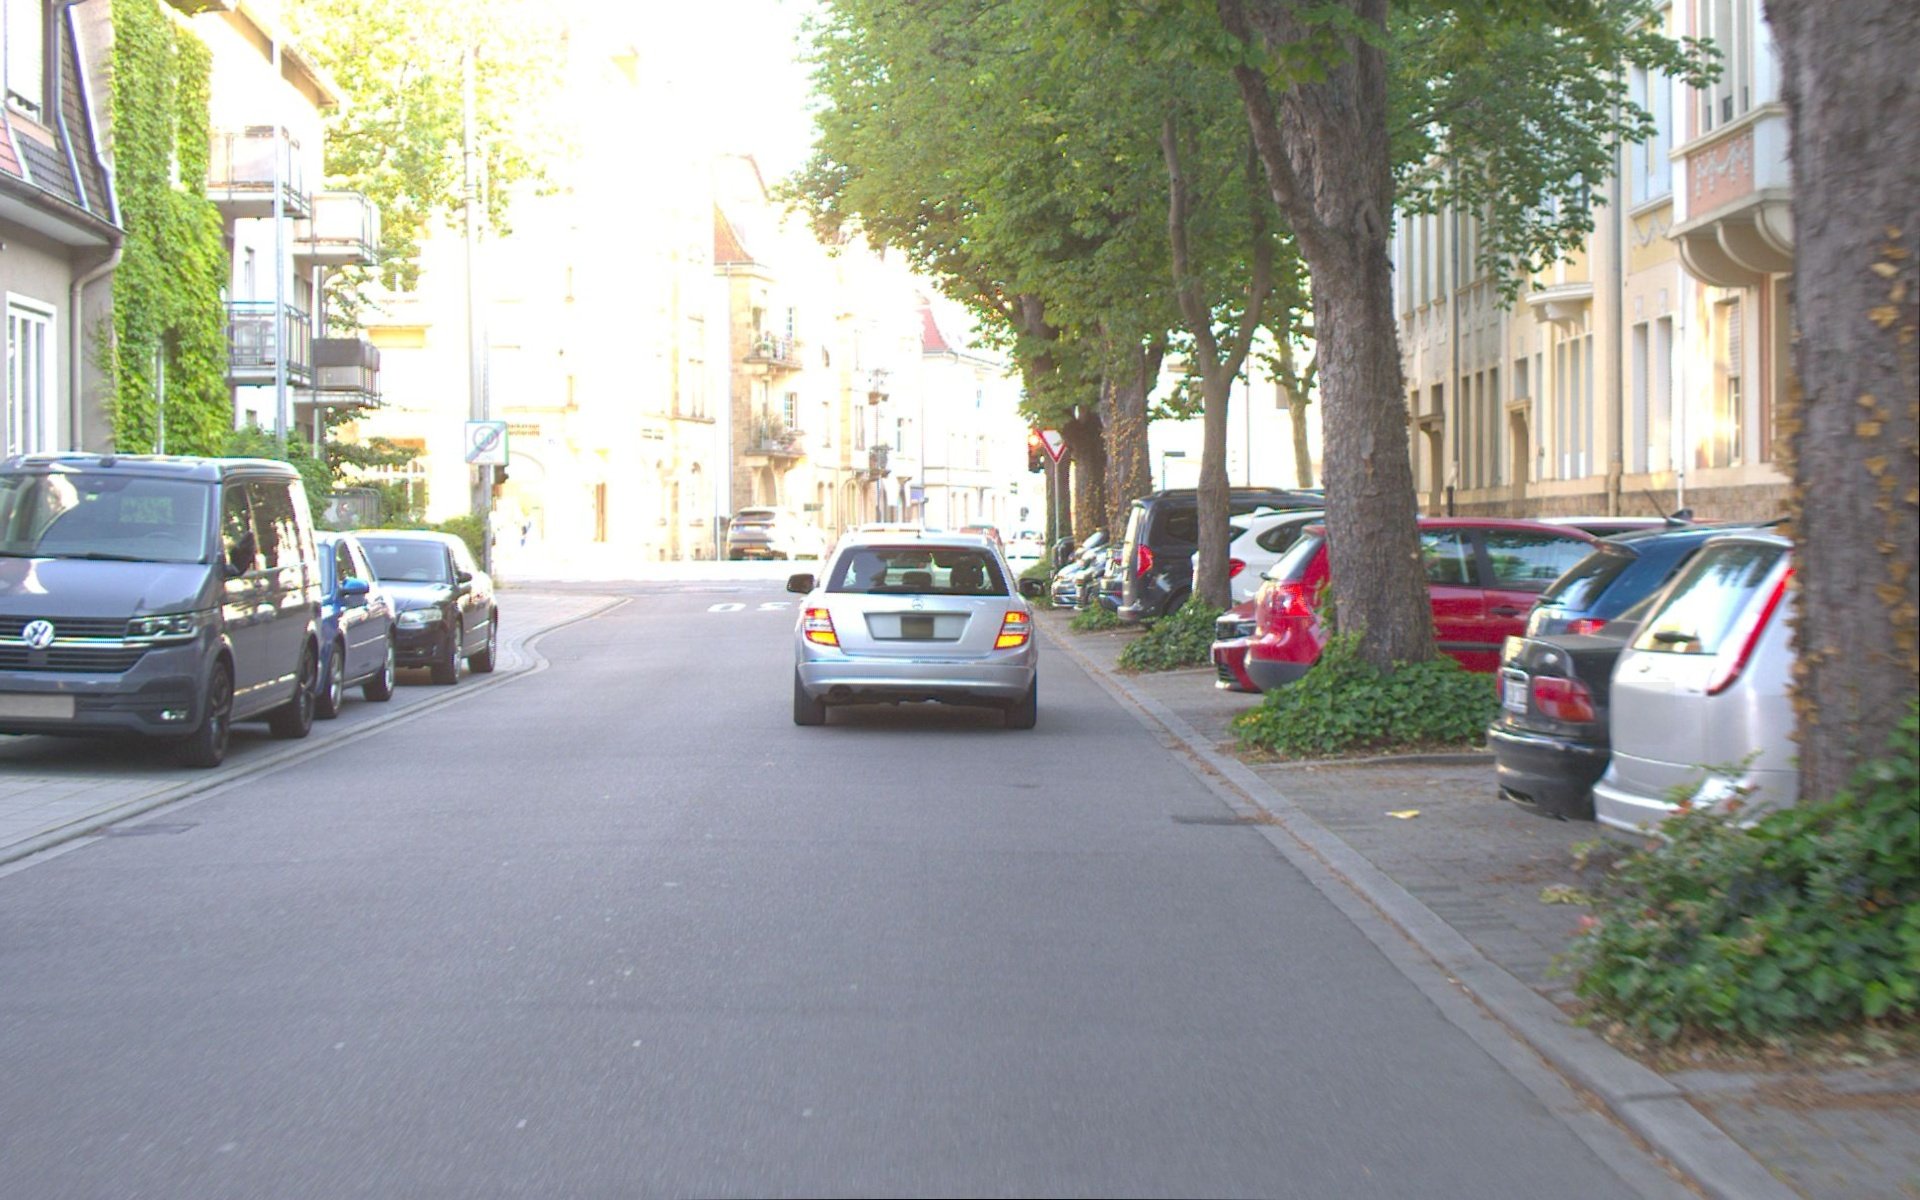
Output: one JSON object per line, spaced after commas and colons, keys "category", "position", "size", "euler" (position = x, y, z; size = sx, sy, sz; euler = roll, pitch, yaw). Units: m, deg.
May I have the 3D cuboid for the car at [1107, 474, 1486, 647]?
{"category": "car", "position": [3.962, -0.488, 40.965], "size": [4.219, 1.890, 1.906], "euler": [-2, 2, -2]}

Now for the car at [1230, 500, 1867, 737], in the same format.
{"category": "car", "position": [4.083, 0.105, 24.377], "size": [4.190, 1.470, 1.852], "euler": [-2, 1, 2]}

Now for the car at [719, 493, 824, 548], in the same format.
{"category": "car", "position": [-5.614, -2.404, 102.933], "size": [1.995, 1.579, 3.998], "euler": [1, 2, 15]}

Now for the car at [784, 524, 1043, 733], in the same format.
{"category": "car", "position": [-0.325, 0.161, 25.842], "size": [1.784, 1.432, 3.851], "euler": [1, 1, 0]}

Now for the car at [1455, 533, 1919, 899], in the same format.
{"category": "car", "position": [4.135, 0.441, 14.570], "size": [3.793, 1.433, 1.818], "euler": [0, 1, -1]}

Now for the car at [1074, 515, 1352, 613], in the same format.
{"category": "car", "position": [4.054, -0.599, 55.570], "size": [4.287, 1.535, 1.899], "euler": [0, 2, -3]}

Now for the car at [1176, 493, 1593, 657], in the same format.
{"category": "car", "position": [4.419, -0.279, 36.225], "size": [4.110, 1.566, 1.877], "euler": [-2, 1, 0]}

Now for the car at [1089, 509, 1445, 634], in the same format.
{"category": "car", "position": [3.859, -0.376, 43.681], "size": [4.287, 1.535, 1.877], "euler": [0, 2, -3]}

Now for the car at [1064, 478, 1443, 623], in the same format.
{"category": "car", "position": [4.063, -0.718, 48.222], "size": [5.053, 1.982, 2.072], "euler": [0, 2, -3]}

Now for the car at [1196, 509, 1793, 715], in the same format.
{"category": "car", "position": [4.127, 0.069, 27.090], "size": [4.411, 1.414, 1.877], "euler": [-2, 1, 2]}

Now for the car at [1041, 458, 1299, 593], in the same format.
{"category": "car", "position": [3.693, -1.338, 61.052], "size": [4.388, 2.356, 2.000], "euler": [0, 2, -3]}

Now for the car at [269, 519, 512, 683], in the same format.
{"category": "car", "position": [-5.554, -0.042, 33.986], "size": [1.695, 1.442, 4.358], "euler": [1, 2, 0]}

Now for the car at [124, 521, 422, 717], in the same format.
{"category": "car", "position": [-5.667, 0.102, 28.825], "size": [1.653, 1.442, 4.238], "euler": [1, 2, 0]}

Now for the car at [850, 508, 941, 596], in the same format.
{"category": "car", "position": [-1.189, -0.921, 64.514], "size": [1.623, 1.564, 3.680], "euler": [0, 2, 0]}

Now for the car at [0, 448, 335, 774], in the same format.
{"category": "car", "position": [-5.578, -0.018, 23.050], "size": [1.982, 1.941, 4.852], "euler": [1, 2, -1]}

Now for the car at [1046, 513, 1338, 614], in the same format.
{"category": "car", "position": [3.554, -0.581, 53.154], "size": [4.287, 1.412, 1.877], "euler": [-1, 2, -3]}

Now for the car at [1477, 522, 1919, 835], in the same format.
{"category": "car", "position": [4.570, 0.356, 17.093], "size": [3.793, 1.478, 1.561], "euler": [0, 1, 2]}

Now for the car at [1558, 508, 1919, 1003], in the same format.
{"category": "car", "position": [4.344, 0.464, 11.967], "size": [4.146, 1.571, 1.713], "euler": [0, 1, -5]}
